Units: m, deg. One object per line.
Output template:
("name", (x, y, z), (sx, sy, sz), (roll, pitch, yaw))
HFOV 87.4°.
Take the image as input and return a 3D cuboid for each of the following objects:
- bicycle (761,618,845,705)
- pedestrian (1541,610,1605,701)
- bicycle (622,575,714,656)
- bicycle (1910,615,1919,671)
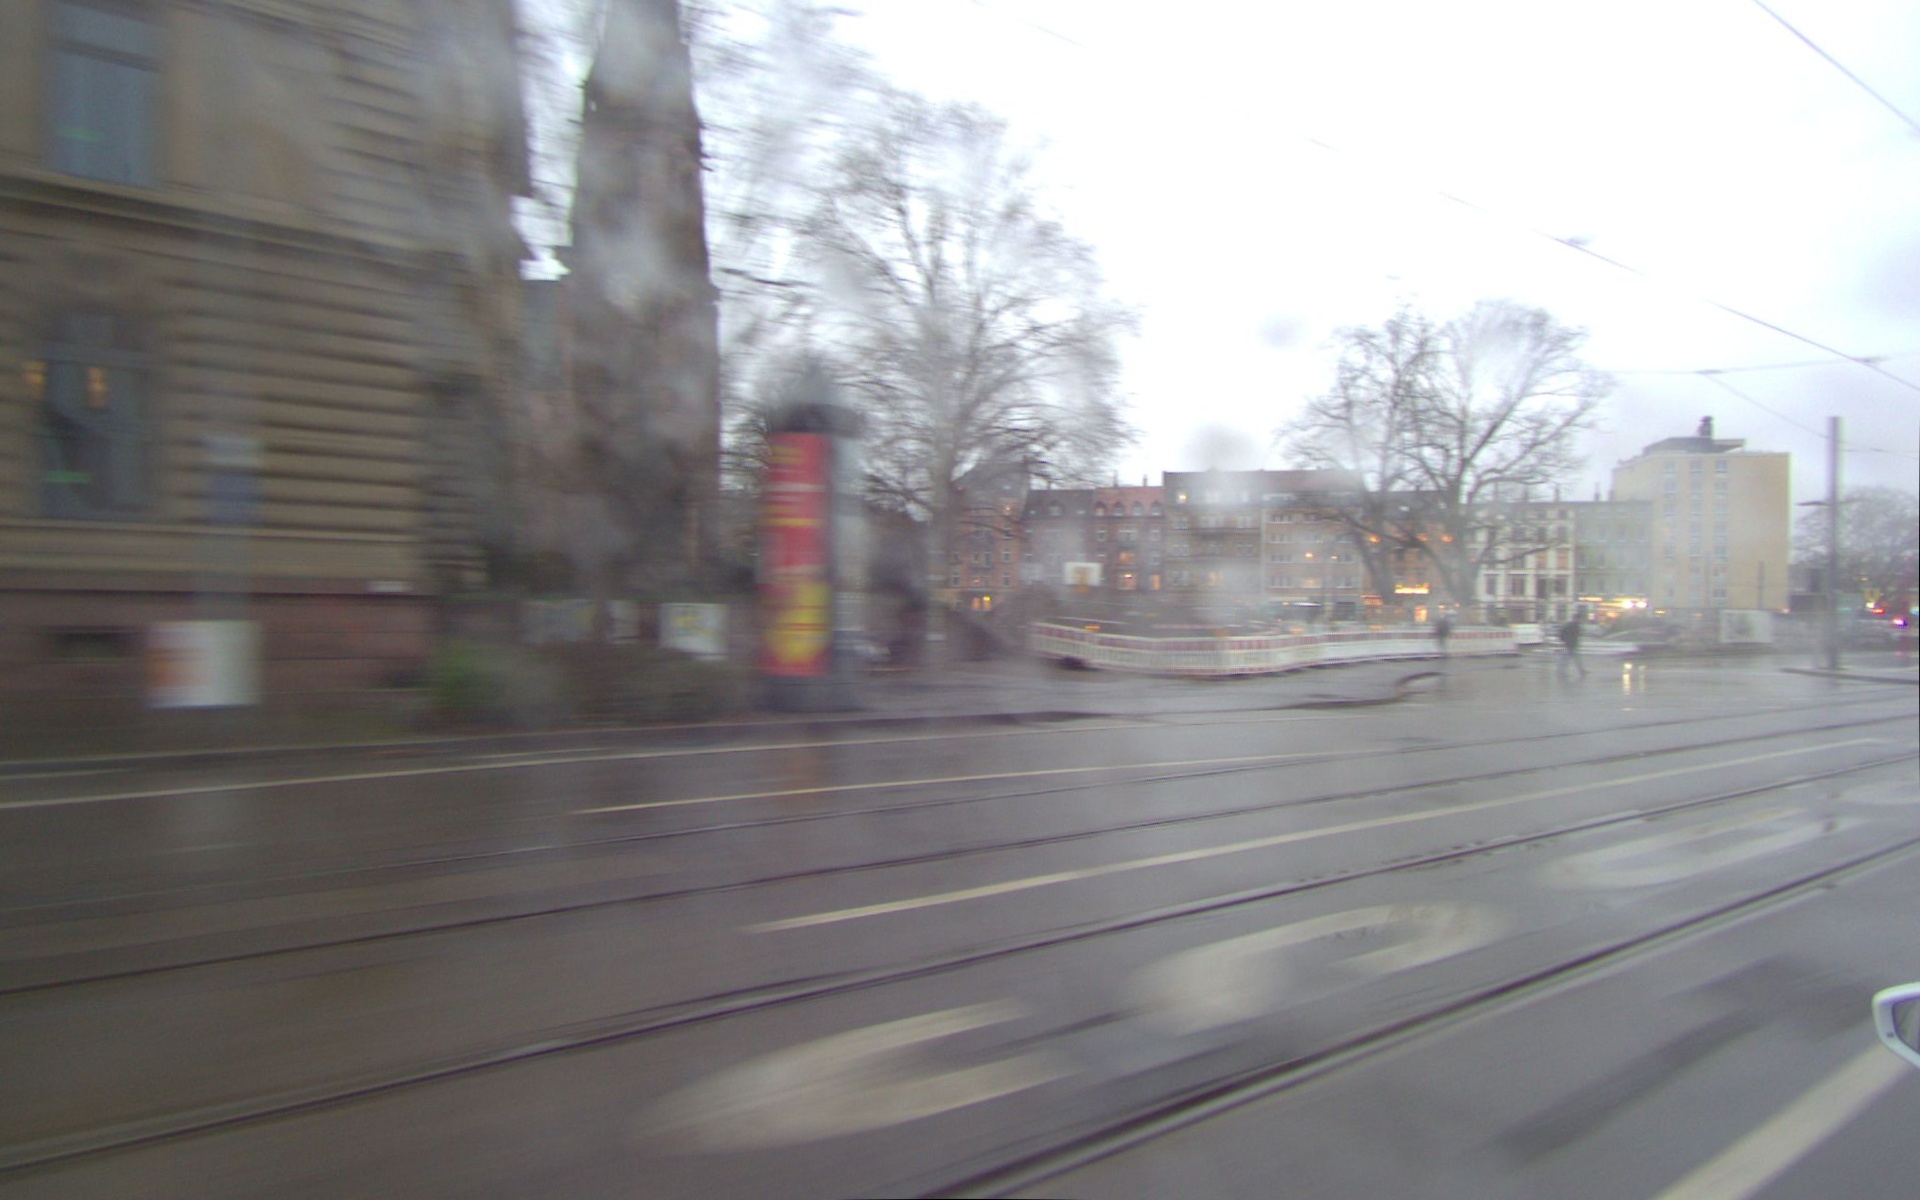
("bicycle", (-3.356, 1.272, 21.732), (0.699, 1.711, 2.429), (2, 1, 18))
("pedestrian", (16.881, 1.508, 27.676), (1.044, 2.402, 0.996), (2, 1, -2))
("bicycle", (-6.532, 0.324, 22.619), (0.699, 1.711, 2.429), (2, 1, 18))
("bicycle", (19.818, 0.835, 19.382), (2.164, 1.089, 0.628), (-1, 1, 10))
